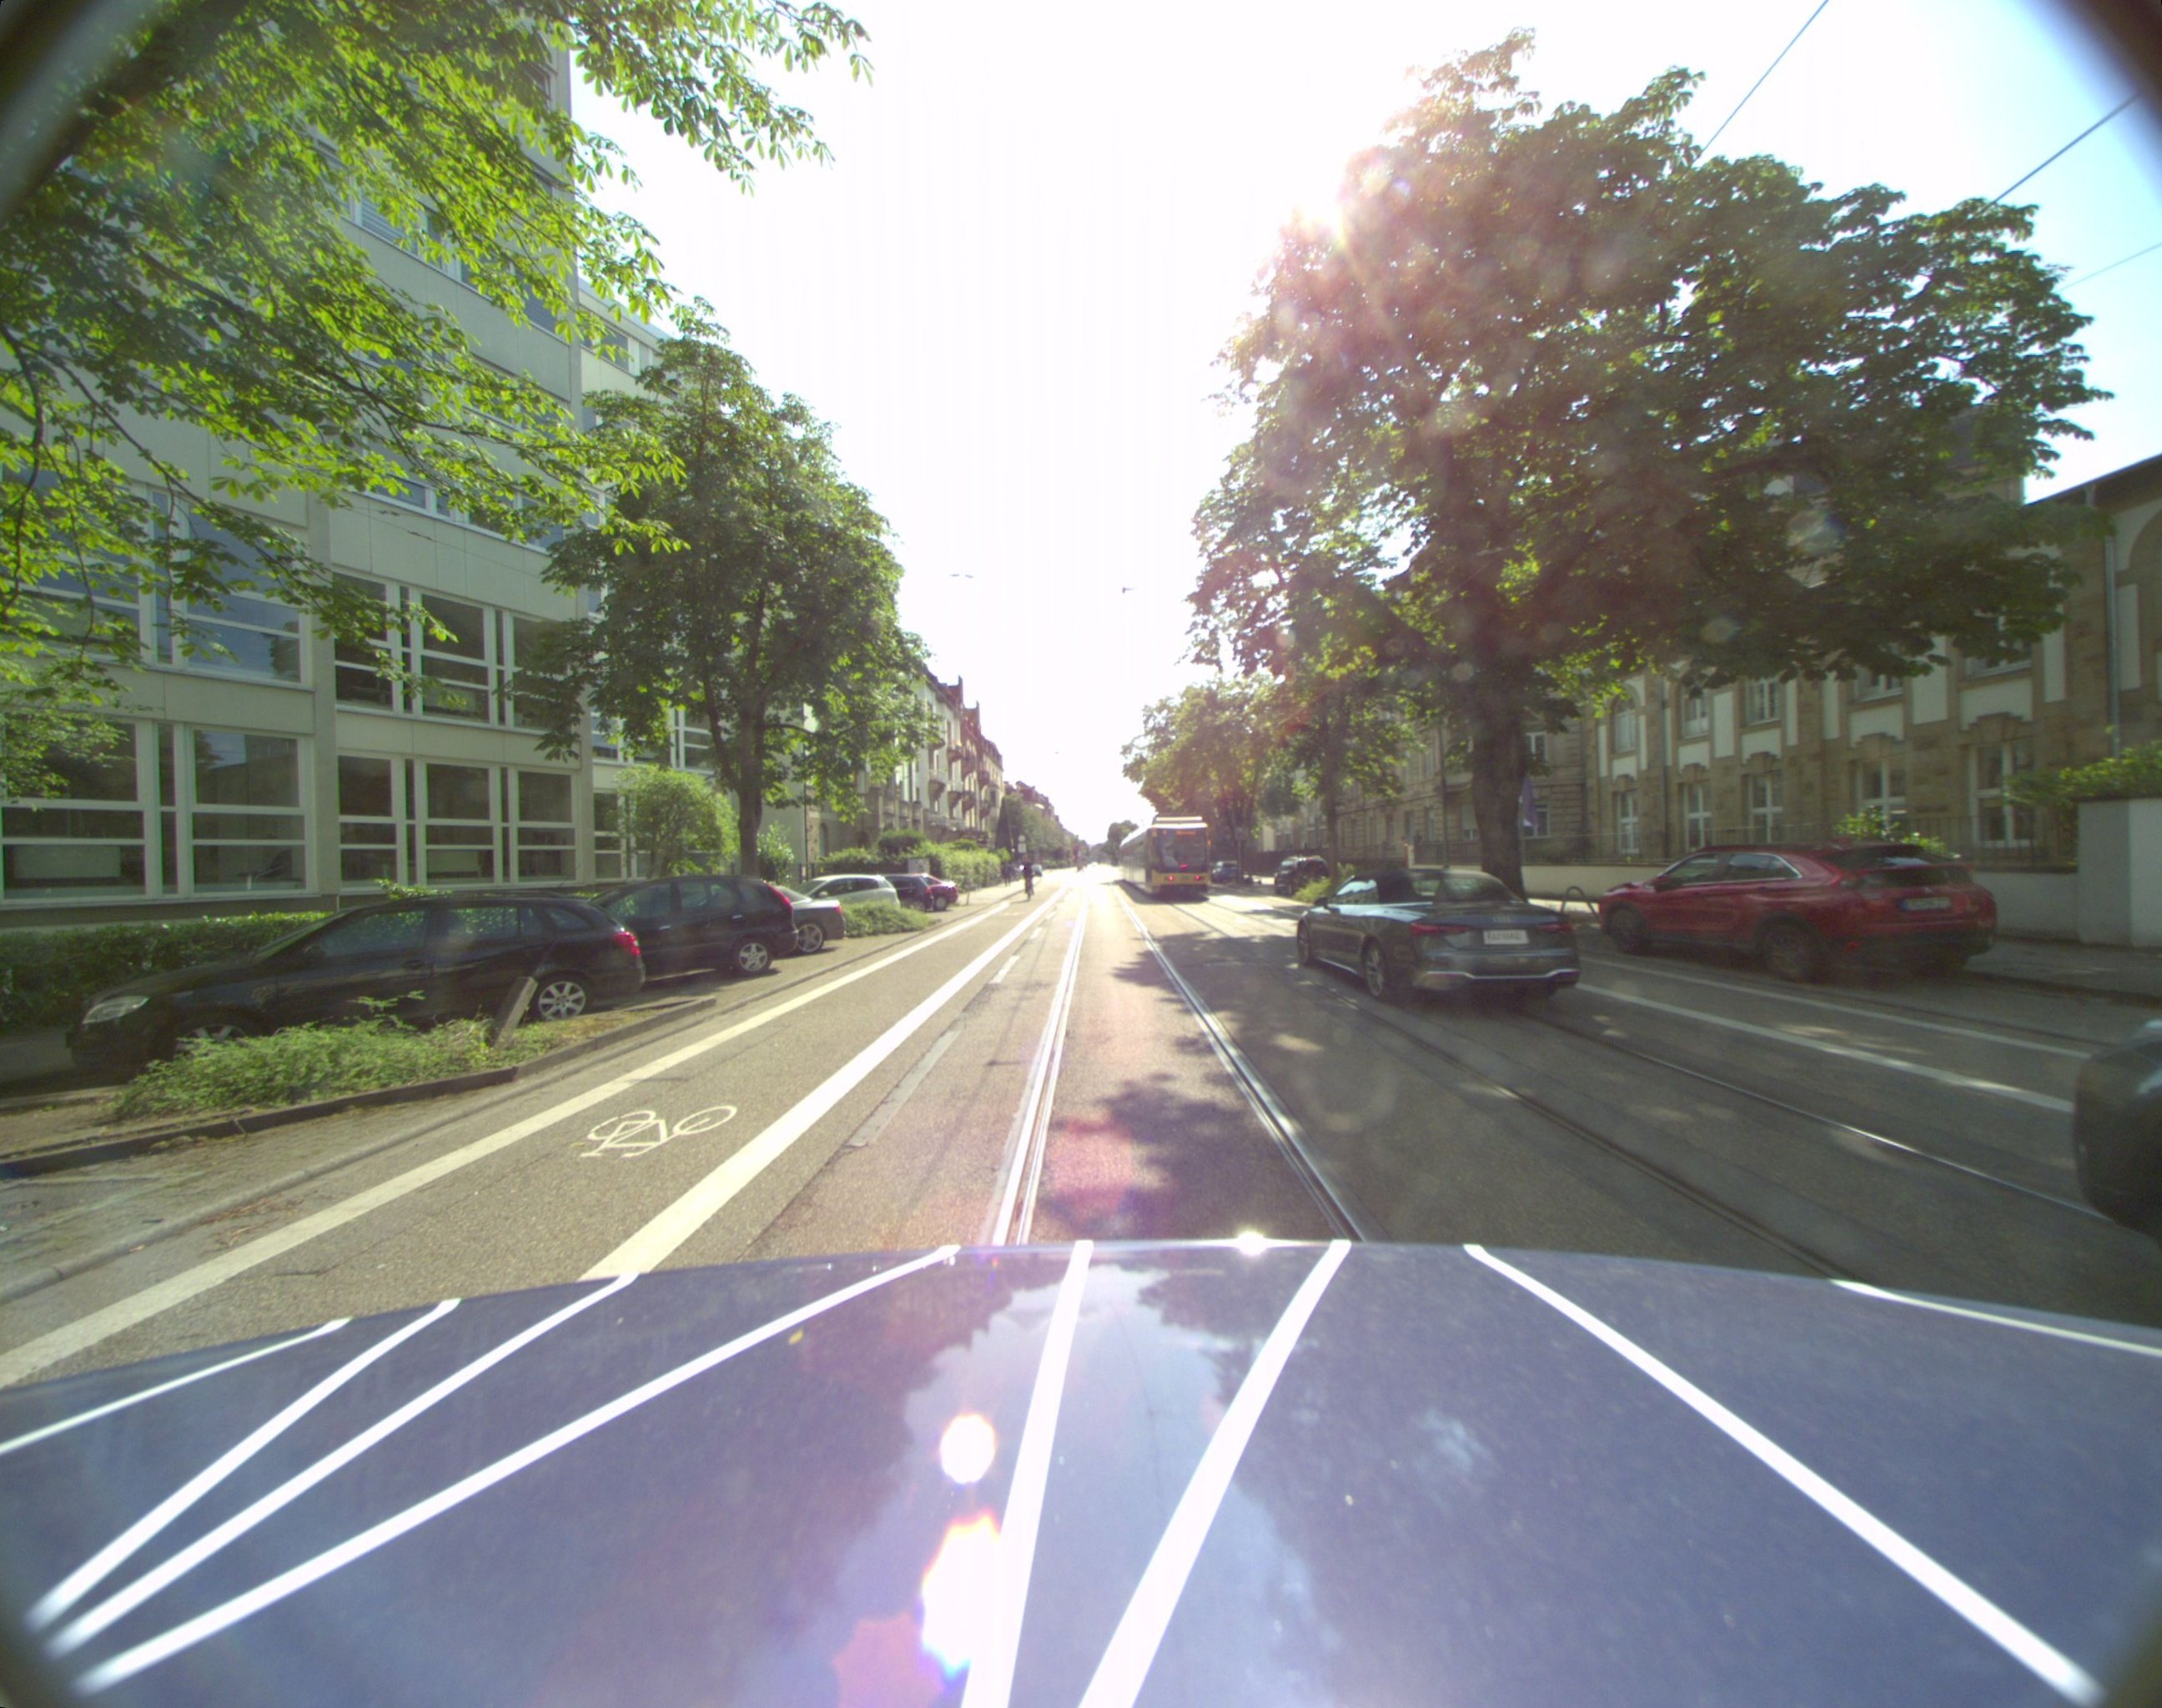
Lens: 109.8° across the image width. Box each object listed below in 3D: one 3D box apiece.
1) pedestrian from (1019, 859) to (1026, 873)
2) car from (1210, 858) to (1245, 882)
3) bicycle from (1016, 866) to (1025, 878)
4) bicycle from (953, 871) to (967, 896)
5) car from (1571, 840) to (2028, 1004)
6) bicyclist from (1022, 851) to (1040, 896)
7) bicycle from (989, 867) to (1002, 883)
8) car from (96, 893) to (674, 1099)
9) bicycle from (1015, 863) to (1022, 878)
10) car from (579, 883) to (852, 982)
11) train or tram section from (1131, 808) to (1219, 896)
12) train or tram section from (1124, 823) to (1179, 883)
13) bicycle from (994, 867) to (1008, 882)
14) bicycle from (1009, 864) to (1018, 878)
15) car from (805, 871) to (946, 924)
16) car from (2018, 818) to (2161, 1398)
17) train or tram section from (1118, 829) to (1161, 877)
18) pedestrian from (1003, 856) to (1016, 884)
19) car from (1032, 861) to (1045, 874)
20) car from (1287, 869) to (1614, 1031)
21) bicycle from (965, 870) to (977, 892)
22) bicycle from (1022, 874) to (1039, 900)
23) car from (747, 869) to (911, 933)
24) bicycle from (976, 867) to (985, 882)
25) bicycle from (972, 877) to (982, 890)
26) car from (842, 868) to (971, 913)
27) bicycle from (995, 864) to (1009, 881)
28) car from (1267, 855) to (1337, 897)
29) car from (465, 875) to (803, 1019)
[{"bbox_3d":[-7.976,1.572,103.011,0.661,1.830,0.873,7,-1,-7],"label":"pedestrian"},{"bbox_3d":[10.001,1.043,52.086,1.658,1.476,3.808,-3,0,0],"label":"car"},{"bbox_3d":[-5.440,1.612,68.223,0.600,0.955,3.066,3,-1,-2],"label":"bicycle"},{"bbox_3d":[-5.935,1.434,37.294,0.280,1.102,2.011,2,0,1],"label":"bicycle"},{"bbox_3d":[9.165,0.715,10.434,1.755,1.655,4.720,-3,0,0],"label":"car"},{"bbox_3d":[-2.255,0.856,34.200,0.608,1.937,1.130,-3,1,1],"label":"bicyclist"},{"bbox_3d":[-5.589,1.370,49.635,0.614,0.983,1.872,1,0,0],"label":"bicycle"},{"bbox_3d":[-6.775,1.220,7.953,4.084,1.434,1.722,-1,-2,-43],"label":"car"},{"bbox_3d":[-5.164,1.365,62.933,0.452,1.253,1.844,1,0,-2],"label":"bicycle"},{"bbox_3d":[-6.727,1.334,14.264,4.183,1.341,1.900,-3,0,-44],"label":"car"},{"bbox_3d":[4.045,-0.089,36.022,2.659,3.336,14.108,1,0,1],"label":"train or tram section"},{"bbox_3d":[4.295,-0.083,48.706,2.659,3.369,11.473,1,0,1],"label":"train or tram section"},{"bbox_3d":[-5.476,1.386,52.033,0.612,0.990,2.362,2,0,0],"label":"bicycle"},{"bbox_3d":[-5.496,1.410,61.997,0.452,1.116,1.844,1,-1,2],"label":"bicycle"},{"bbox_3d":[-6.530,1.336,24.368,4.008,1.440,1.695,-2,0,-41],"label":"car"},{"bbox_3d":[4.051,0.710,0.341,1.830,1.717,4.391,-3,0,1],"label":"car"},{"bbox_3d":[4.516,-0.036,60.502,2.659,3.416,12.316,1,0,1],"label":"train or tram section"},{"bbox_3d":[-4.847,1.087,51.514,0.790,1.850,0.580,1,0,-6],"label":"pedestrian"},{"bbox_3d":[-5.443,1.701,96.456,1.517,1.490,2.794,1,0,-1],"label":"car"},{"bbox_3d":[3.956,0.921,9.116,1.803,1.380,4.426,-1,0,1],"label":"car"},{"bbox_3d":[-5.890,1.425,40.812,0.280,1.102,2.011,2,0,1],"label":"bicycle"},{"bbox_3d":[-2.261,1.494,34.331,0.617,1.039,1.835,2,1,1],"label":"bicycle"},{"bbox_3d":[-6.867,1.228,20.982,4.008,1.452,1.531,-2,0,-44],"label":"car"},{"bbox_3d":[-5.992,1.226,45.279,0.274,0.901,1.669,2,-2,1],"label":"bicycle"},{"bbox_3d":[-5.861,1.662,42.725,0.280,0.673,1.559,2,0,1],"label":"bicycle"},{"bbox_3d":[-6.254,1.261,27.537,4.168,1.415,1.861,-1,0,-41],"label":"car"},{"bbox_3d":[-5.765,1.334,55.507,0.742,1.224,2.516,-1,0,0],"label":"bicycle"},{"bbox_3d":[9.687,0.918,33.665,1.811,1.631,4.331,-3,0,0],"label":"car"},{"bbox_3d":[-6.531,1.207,11.322,4.007,1.565,1.900,-3,0,-41],"label":"car"}]
